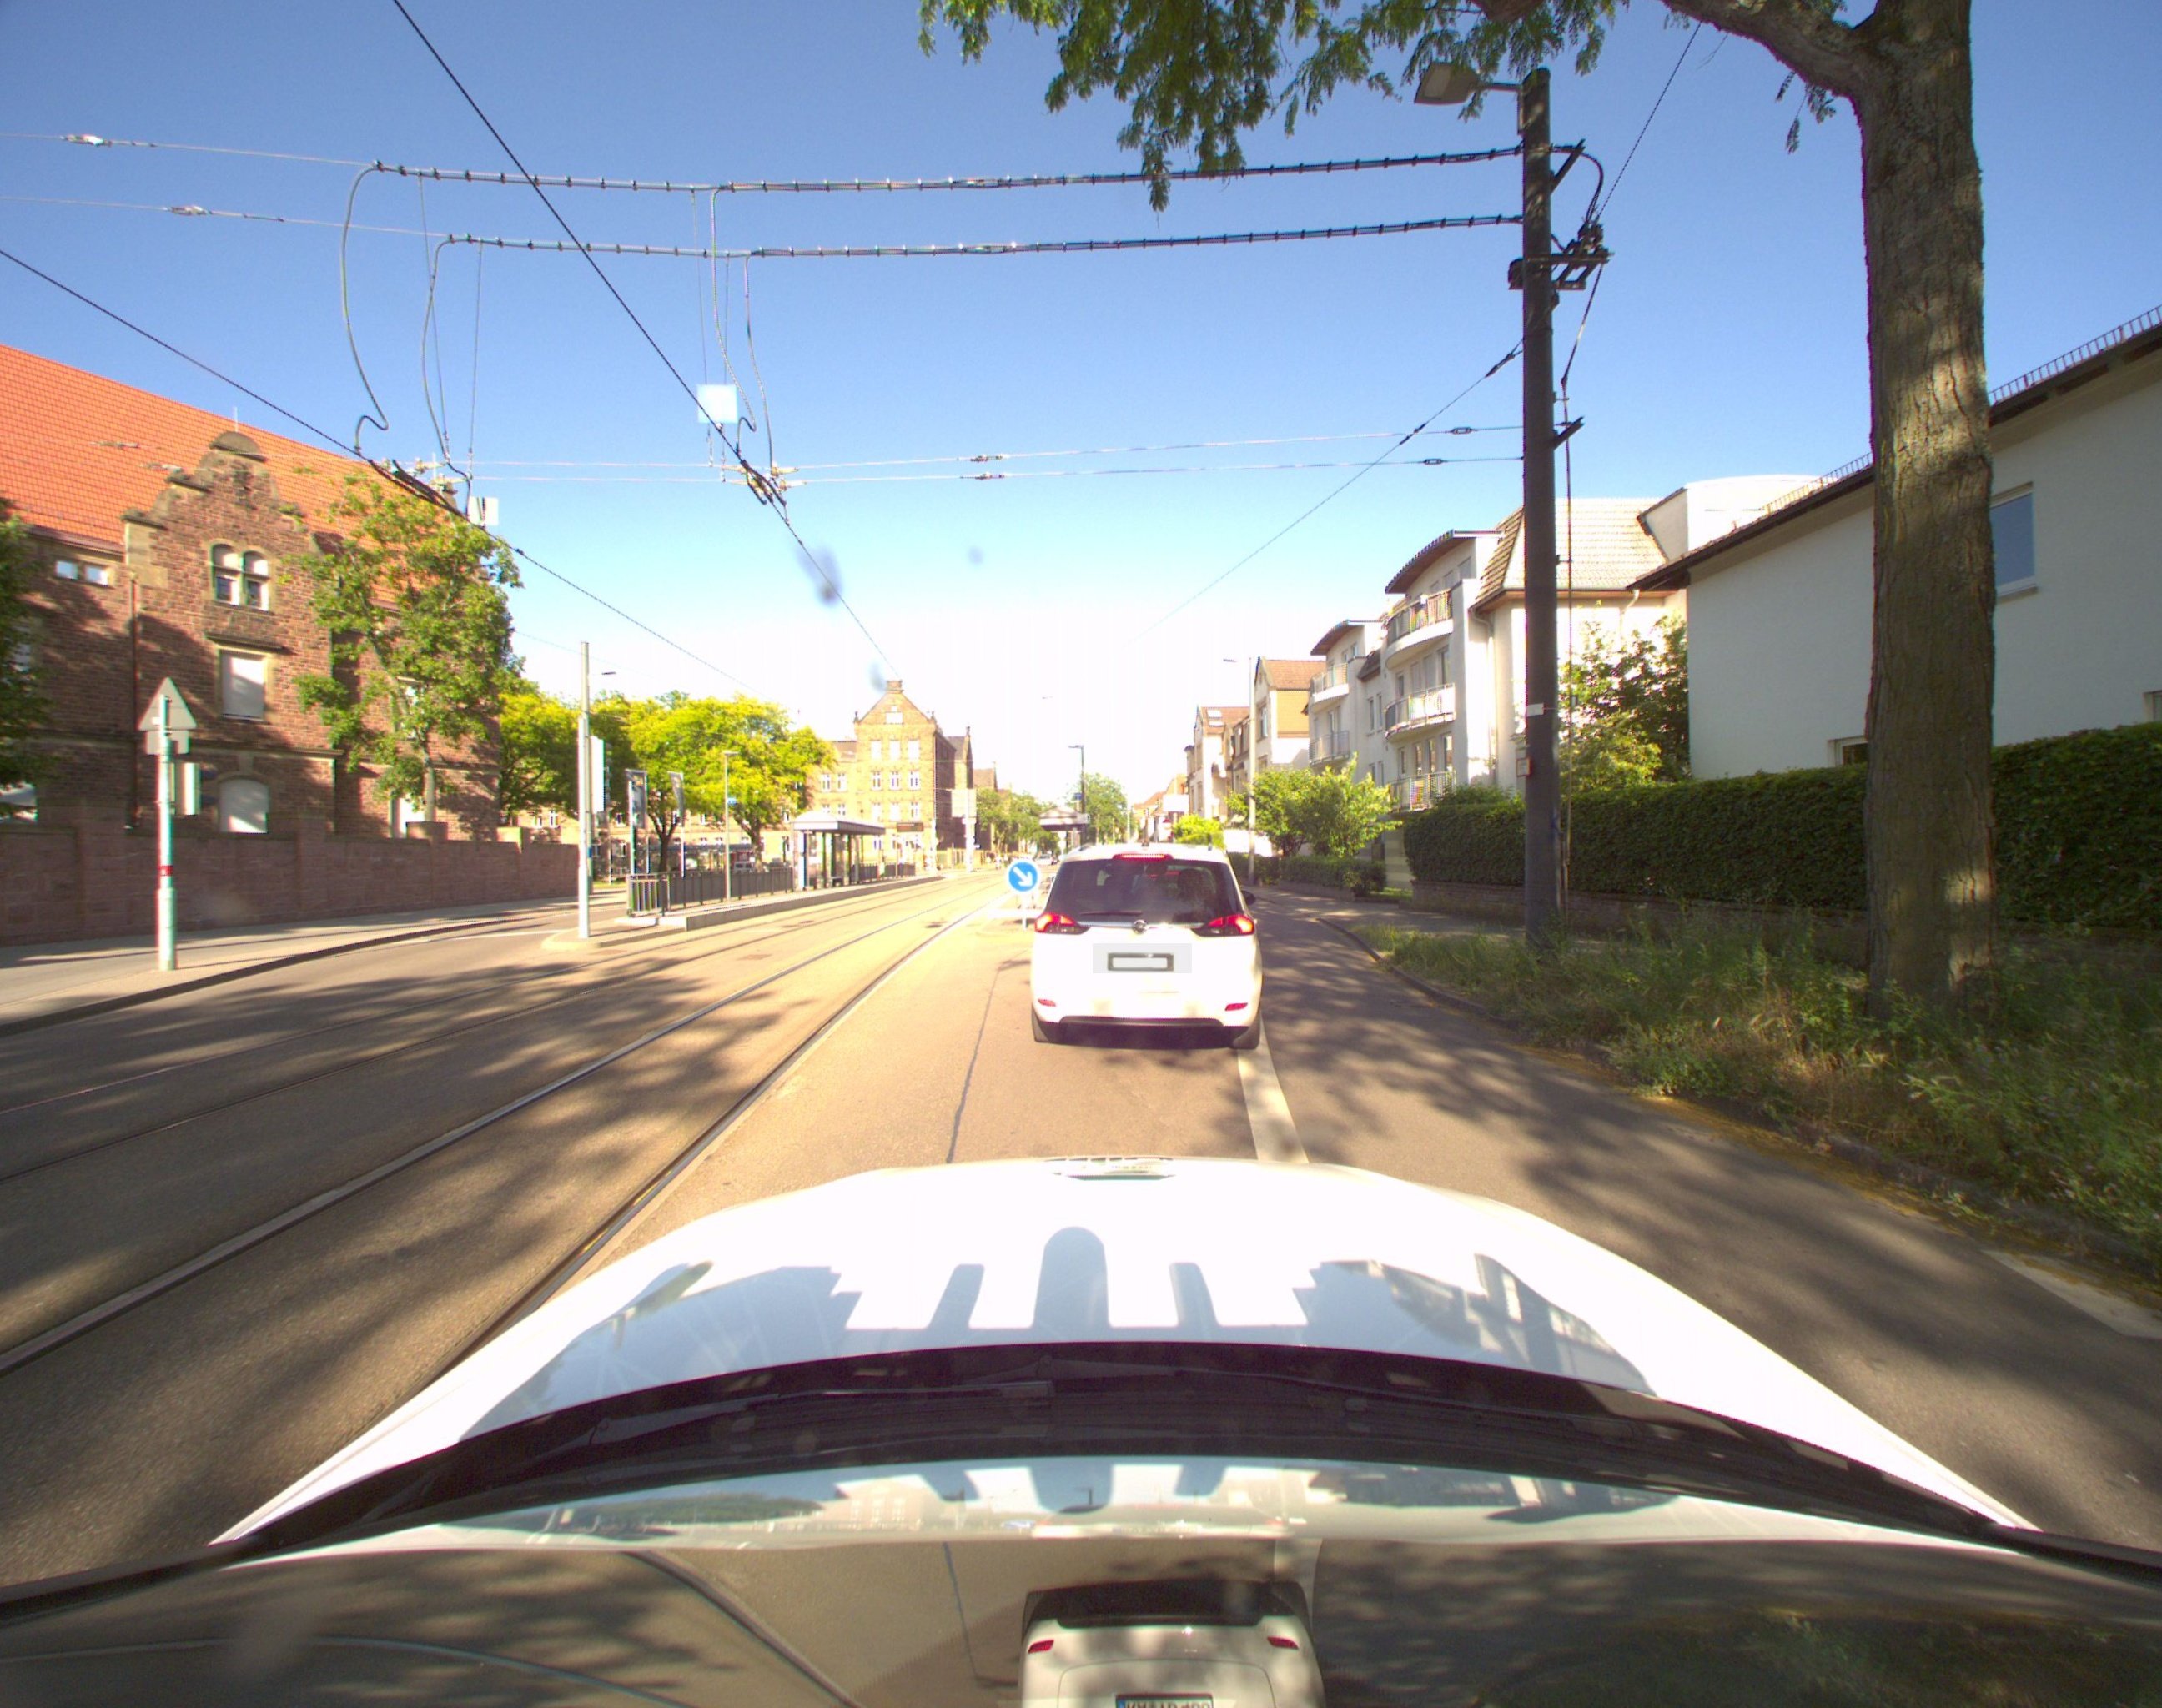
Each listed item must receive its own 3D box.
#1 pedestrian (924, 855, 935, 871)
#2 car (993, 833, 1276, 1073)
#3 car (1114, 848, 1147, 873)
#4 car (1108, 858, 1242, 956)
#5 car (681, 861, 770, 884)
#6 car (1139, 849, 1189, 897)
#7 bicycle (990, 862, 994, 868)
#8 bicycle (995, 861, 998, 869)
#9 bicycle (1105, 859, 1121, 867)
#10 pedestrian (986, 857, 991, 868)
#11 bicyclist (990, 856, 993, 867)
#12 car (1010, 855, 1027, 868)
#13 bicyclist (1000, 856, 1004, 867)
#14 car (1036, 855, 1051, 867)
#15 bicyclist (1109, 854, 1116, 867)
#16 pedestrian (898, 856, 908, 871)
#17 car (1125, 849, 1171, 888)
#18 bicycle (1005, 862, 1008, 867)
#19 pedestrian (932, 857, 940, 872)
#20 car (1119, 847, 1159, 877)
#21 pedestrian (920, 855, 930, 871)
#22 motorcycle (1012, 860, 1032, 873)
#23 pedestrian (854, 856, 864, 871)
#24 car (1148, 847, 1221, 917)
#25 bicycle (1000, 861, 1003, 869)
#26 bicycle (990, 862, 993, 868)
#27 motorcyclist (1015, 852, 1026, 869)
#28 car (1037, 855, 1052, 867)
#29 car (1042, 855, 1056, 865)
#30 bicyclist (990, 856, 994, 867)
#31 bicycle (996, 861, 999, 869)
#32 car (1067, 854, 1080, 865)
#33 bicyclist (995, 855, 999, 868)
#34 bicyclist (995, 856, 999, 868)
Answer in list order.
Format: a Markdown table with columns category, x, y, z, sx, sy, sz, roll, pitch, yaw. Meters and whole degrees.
| category | x | y | z | sx | sy | sz | roll | pitch | yaw |
| --- | --- | --- | --- | --- | --- | --- | --- | --- | --- |
| pedestrian | -16.208 | 0.973 | 87.007 | 0.892 | 1.684 | 1.029 | 0 | -1 | 1 |
| car | 0.645 | 0.688 | 7.693 | 1.982 | 1.644 | 4.003 | 0 | 0 | 8 |
| car | 3.096 | 0.394 | 51.833 | 1.986 | 1.503 | 4.002 | -1 | 0 | 2 |
| car | 1.532 | 0.795 | 14.055 | 1.944 | 1.397 | 4.005 | -1 | 0 | 4 |
| car | -32.969 | 1.709 | 75.685 | 6.927 | 1.921 | 2.992 | -1 | 0 | 0 |
| car | 2.942 | 0.641 | 29.310 | 1.630 | 1.601 | 3.859 | -1 | 0 | 4 |
| bicycle | -12.435 | 1.526 | 113.787 | 0.343 | 0.950 | 0.996 | 0 | -1 | -1 |
| bicycle | -10.728 | 1.429 | 103.511 | 0.343 | 0.950 | 1.160 | 0 | -1 | -1 |
| bicycle | 3.644 | 1.024 | 92.766 | 1.661 | 0.953 | 0.530 | -1 | 0 | 8 |
| pedestrian | -15.412 | 1.399 | 136.123 | 0.733 | 1.714 | 0.753 | 0 | -1 | -4 |
| bicyclist | -12.699 | 1.075 | 115.590 | 0.443 | 1.553 | 0.495 | -1 | 0 | -2 |
| car | -8.205 | 0.939 | 107.468 | 1.989 | 1.629 | 3.996 | -1 | 0 | -3 |
| bicyclist | -10.676 | 1.012 | 109.591 | 0.443 | 1.553 | 0.495 | -1 | 0 | -2 |
| car | -5.311 | 0.970 | 114.733 | 1.989 | 1.629 | 3.996 | -1 | 0 | -3 |
| bicyclist | 3.602 | 0.766 | 92.779 | 0.754 | 1.430 | 0.517 | -1 | -1 | 8 |
| pedestrian | -19.193 | 0.980 | 87.820 | 0.799 | 1.588 | 0.934 | 0 | -1 | -1 |
| car | 2.927 | 0.618 | 36.240 | 1.824 | 1.579 | 4.012 | -1 | 0 | 2 |
| bicycle | -10.268 | 1.430 | 112.745 | 0.343 | 0.725 | 0.996 | 0 | -1 | -1 |
| pedestrian | -17.095 | 1.222 | 96.108 | 0.728 | 1.714 | 0.710 | -1 | -1 | 24 |
| car | 3.123 | 0.422 | 44.366 | 1.986 | 1.503 | 4.002 | -1 | 0 | 2 |
| pedestrian | -17.037 | 1.001 | 88.854 | 0.839 | 1.691 | 1.029 | 0 | -1 | 1 |
| motorcycle | -5.867 | 1.206 | 80.702 | 0.606 | 1.198 | 2.088 | -1 | 0 | 44 |
| pedestrian | -24.475 | 1.034 | 89.671 | 0.931 | 1.588 | 0.802 | 0 | -1 | -9 |
| car | 2.572 | 0.643 | 20.884 | 1.630 | 1.601 | 3.859 | -1 | 0 | 4 |
| bicycle | -10.675 | 1.479 | 109.596 | 0.343 | 0.950 | 0.996 | 0 | -1 | -1 |
| bicycle | -12.692 | 1.543 | 115.624 | 0.343 | 0.950 | 0.996 | 0 | -1 | -1 |
| motorcyclist | -5.995 | 0.662 | 80.579 | 0.607 | 1.621 | 0.850 | -1 | -1 | 44 |
| car | -4.829 | 0.908 | 107.610 | 1.989 | 1.629 | 3.996 | -1 | 0 | -3 |
| car | -5.148 | 0.927 | 130.980 | 1.987 | 1.629 | 4.000 | -1 | 0 | 0 |
| bicyclist | -12.463 | 1.058 | 113.748 | 0.443 | 1.553 | 0.495 | -1 | 0 | -2 |
| bicycle | -11.017 | 1.461 | 107.053 | 0.343 | 0.950 | 0.996 | 0 | -1 | -1 |
| car | -1.247 | 0.912 | 128.777 | 1.988 | 1.629 | 3.998 | -1 | 0 | -1 |
| bicyclist | -10.720 | 0.963 | 103.722 | 0.443 | 1.553 | 0.742 | -1 | 0 | -2 |
| bicyclist | -10.992 | 0.993 | 107.012 | 0.443 | 1.553 | 0.495 | -1 | 0 | -2 |
